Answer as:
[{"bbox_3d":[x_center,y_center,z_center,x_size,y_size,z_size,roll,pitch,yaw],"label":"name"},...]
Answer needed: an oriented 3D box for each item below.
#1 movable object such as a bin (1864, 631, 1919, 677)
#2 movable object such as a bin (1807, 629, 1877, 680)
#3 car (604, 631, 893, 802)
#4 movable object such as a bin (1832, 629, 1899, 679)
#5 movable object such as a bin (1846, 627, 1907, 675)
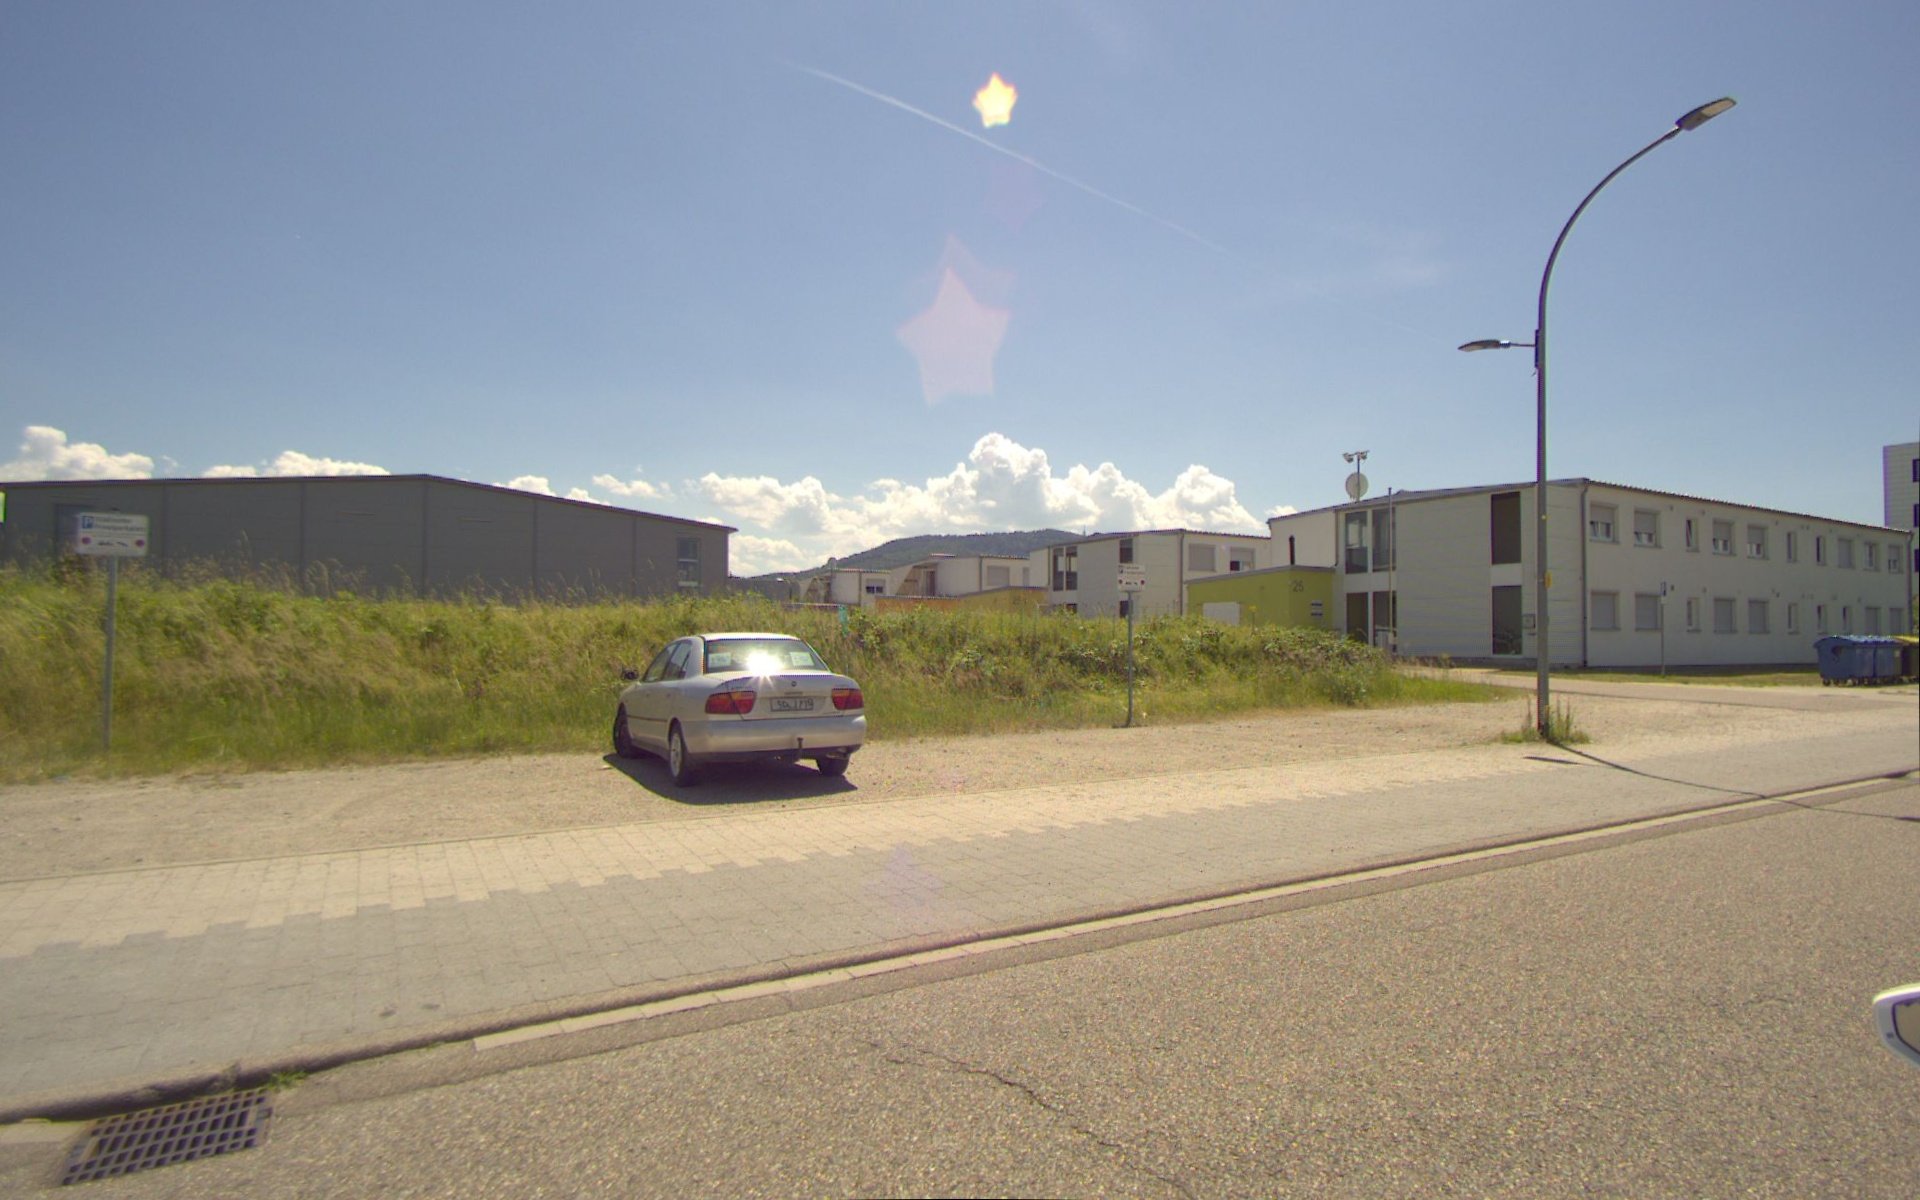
[{"bbox_3d":[30.024,1.712,32.217,1.370,1.423,1.138,2,-2,-28],"label":"movable object such as a bin"},{"bbox_3d":[26.229,1.604,29.890,1.416,1.467,1.139,2,-2,-28],"label":"movable object such as a bin"},{"bbox_3d":[-2.416,1.048,10.547,1.839,1.397,4.229,1,-3,-29],"label":"car"},{"bbox_3d":[27.646,1.639,30.684,1.354,1.467,1.120,1,-2,-28],"label":"movable object such as a bin"},{"bbox_3d":[28.774,1.584,31.542,1.373,1.467,1.082,2,-2,-32],"label":"movable object such as a bin"}]
